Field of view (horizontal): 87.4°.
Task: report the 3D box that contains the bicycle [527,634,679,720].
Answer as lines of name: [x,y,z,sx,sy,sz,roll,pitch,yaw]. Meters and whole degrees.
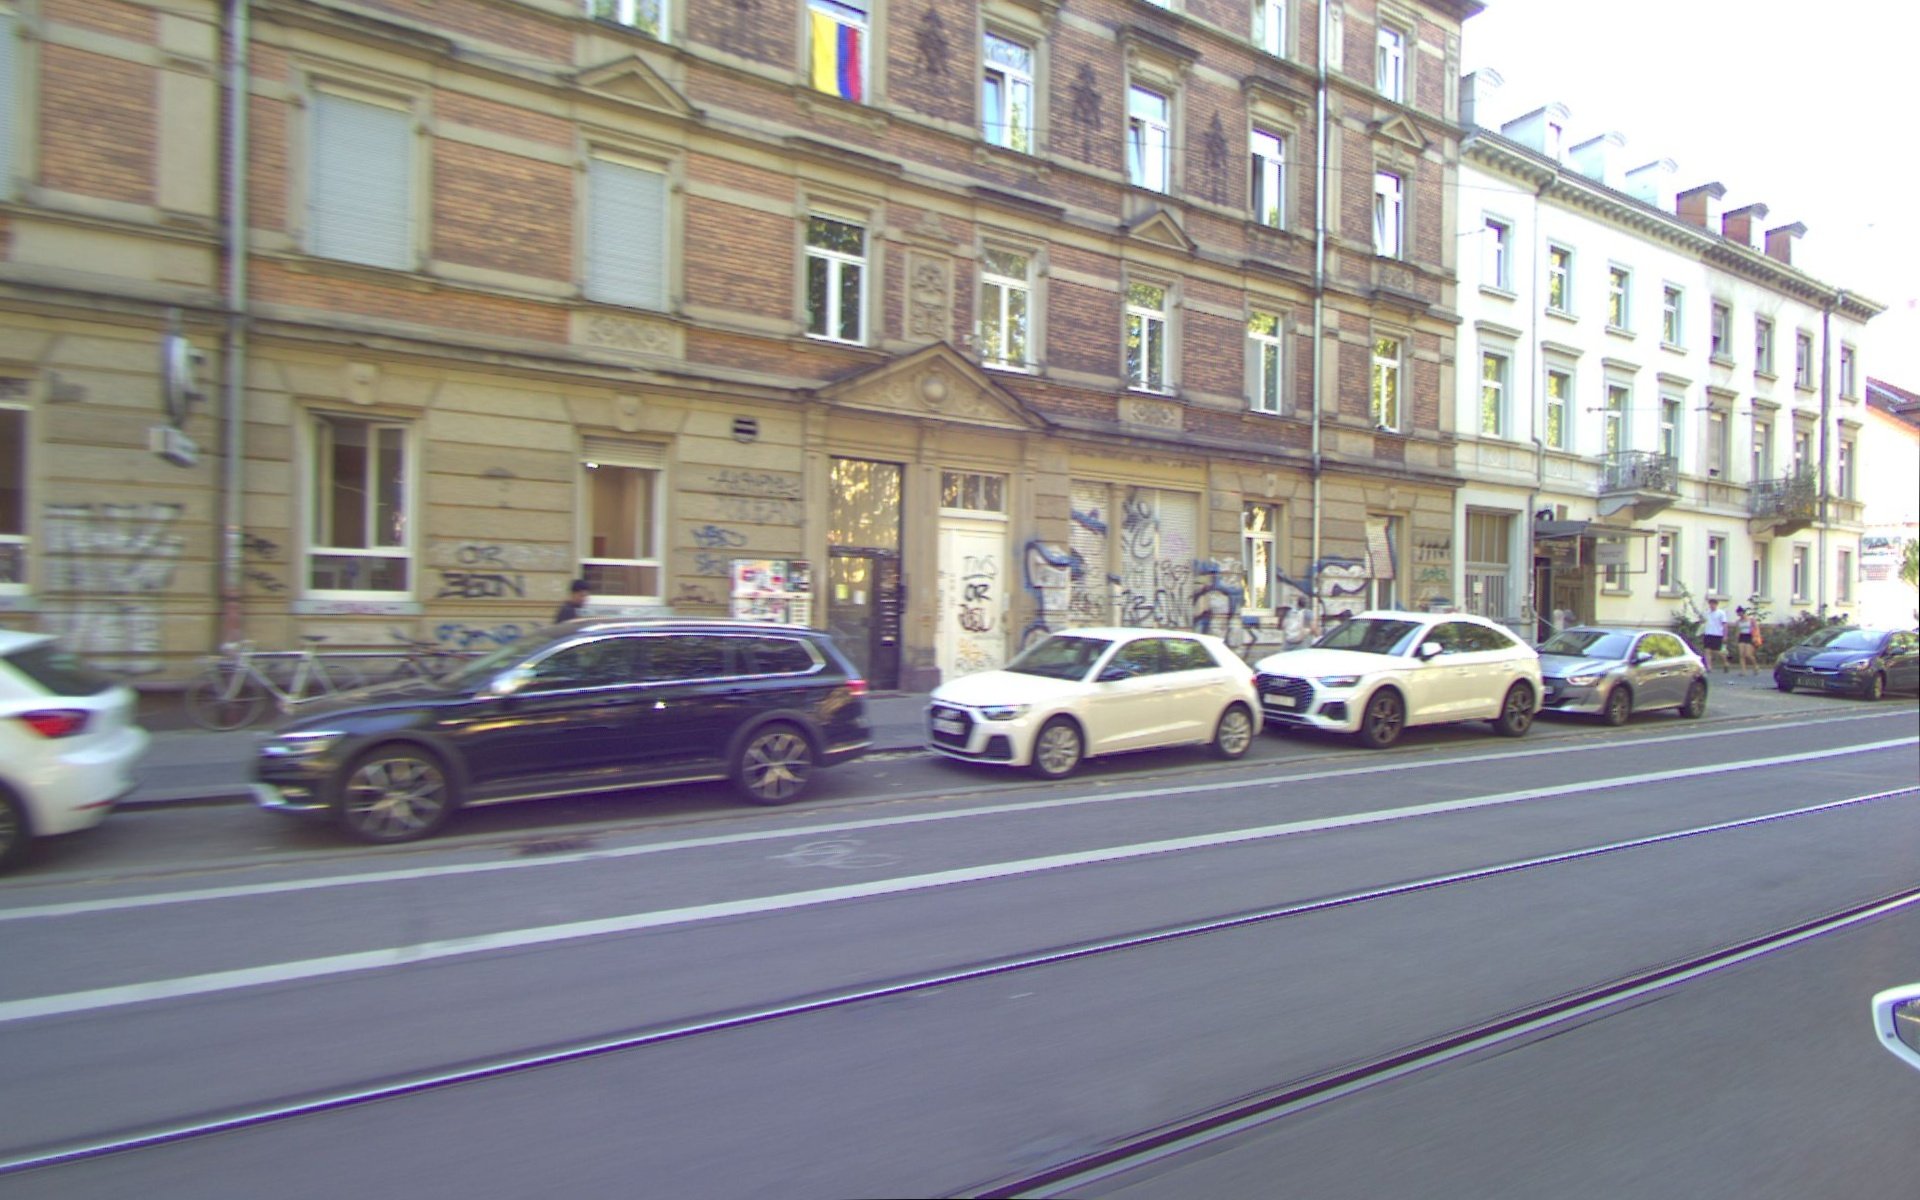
bicycle: [-4.626,0.975,13.106,1.829,1.048,0.370,1,-1,-33]

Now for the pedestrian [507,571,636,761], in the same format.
pedestrian: [-3.947,0.638,10.213,1.048,1.825,0.678,1,1,-39]

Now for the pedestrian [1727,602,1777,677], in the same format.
pedestrian: [19.860,0.981,25.204,0.821,1.845,0.755,1,0,-33]

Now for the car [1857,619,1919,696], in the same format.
car: [23.352,1.323,23.698,4.705,1.726,1.848,1,-1,-29]

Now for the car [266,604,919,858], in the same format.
car: [-2.832,0.892,8.387,4.732,1.583,1.731,1,0,-32]

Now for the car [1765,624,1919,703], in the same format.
car: [19.049,1.306,21.421,3.874,1.535,1.548,1,-1,-28]

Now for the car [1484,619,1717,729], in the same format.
car: [10.488,1.126,16.378,4.020,1.541,1.653,1,0,-33]

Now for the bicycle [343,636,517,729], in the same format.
bicycle: [-6.371,0.968,12.138,1.829,1.048,0.370,1,-1,-33]

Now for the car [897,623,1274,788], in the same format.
car: [1.449,1.014,10.963,3.959,1.439,1.688,1,0,-34]

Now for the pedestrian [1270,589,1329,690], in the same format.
pedestrian: [5.821,0.660,17.236,0.753,1.687,0.665,2,1,2]

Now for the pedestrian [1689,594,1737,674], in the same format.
pedestrian: [19.518,0.873,26.045,0.821,2.040,0.755,1,0,-32]

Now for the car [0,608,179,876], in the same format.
car: [-7.202,0.803,5.823,3.999,1.512,1.731,1,0,-32]

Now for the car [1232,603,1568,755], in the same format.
car: [6.068,0.978,13.706,4.663,1.746,1.778,1,0,-30]
